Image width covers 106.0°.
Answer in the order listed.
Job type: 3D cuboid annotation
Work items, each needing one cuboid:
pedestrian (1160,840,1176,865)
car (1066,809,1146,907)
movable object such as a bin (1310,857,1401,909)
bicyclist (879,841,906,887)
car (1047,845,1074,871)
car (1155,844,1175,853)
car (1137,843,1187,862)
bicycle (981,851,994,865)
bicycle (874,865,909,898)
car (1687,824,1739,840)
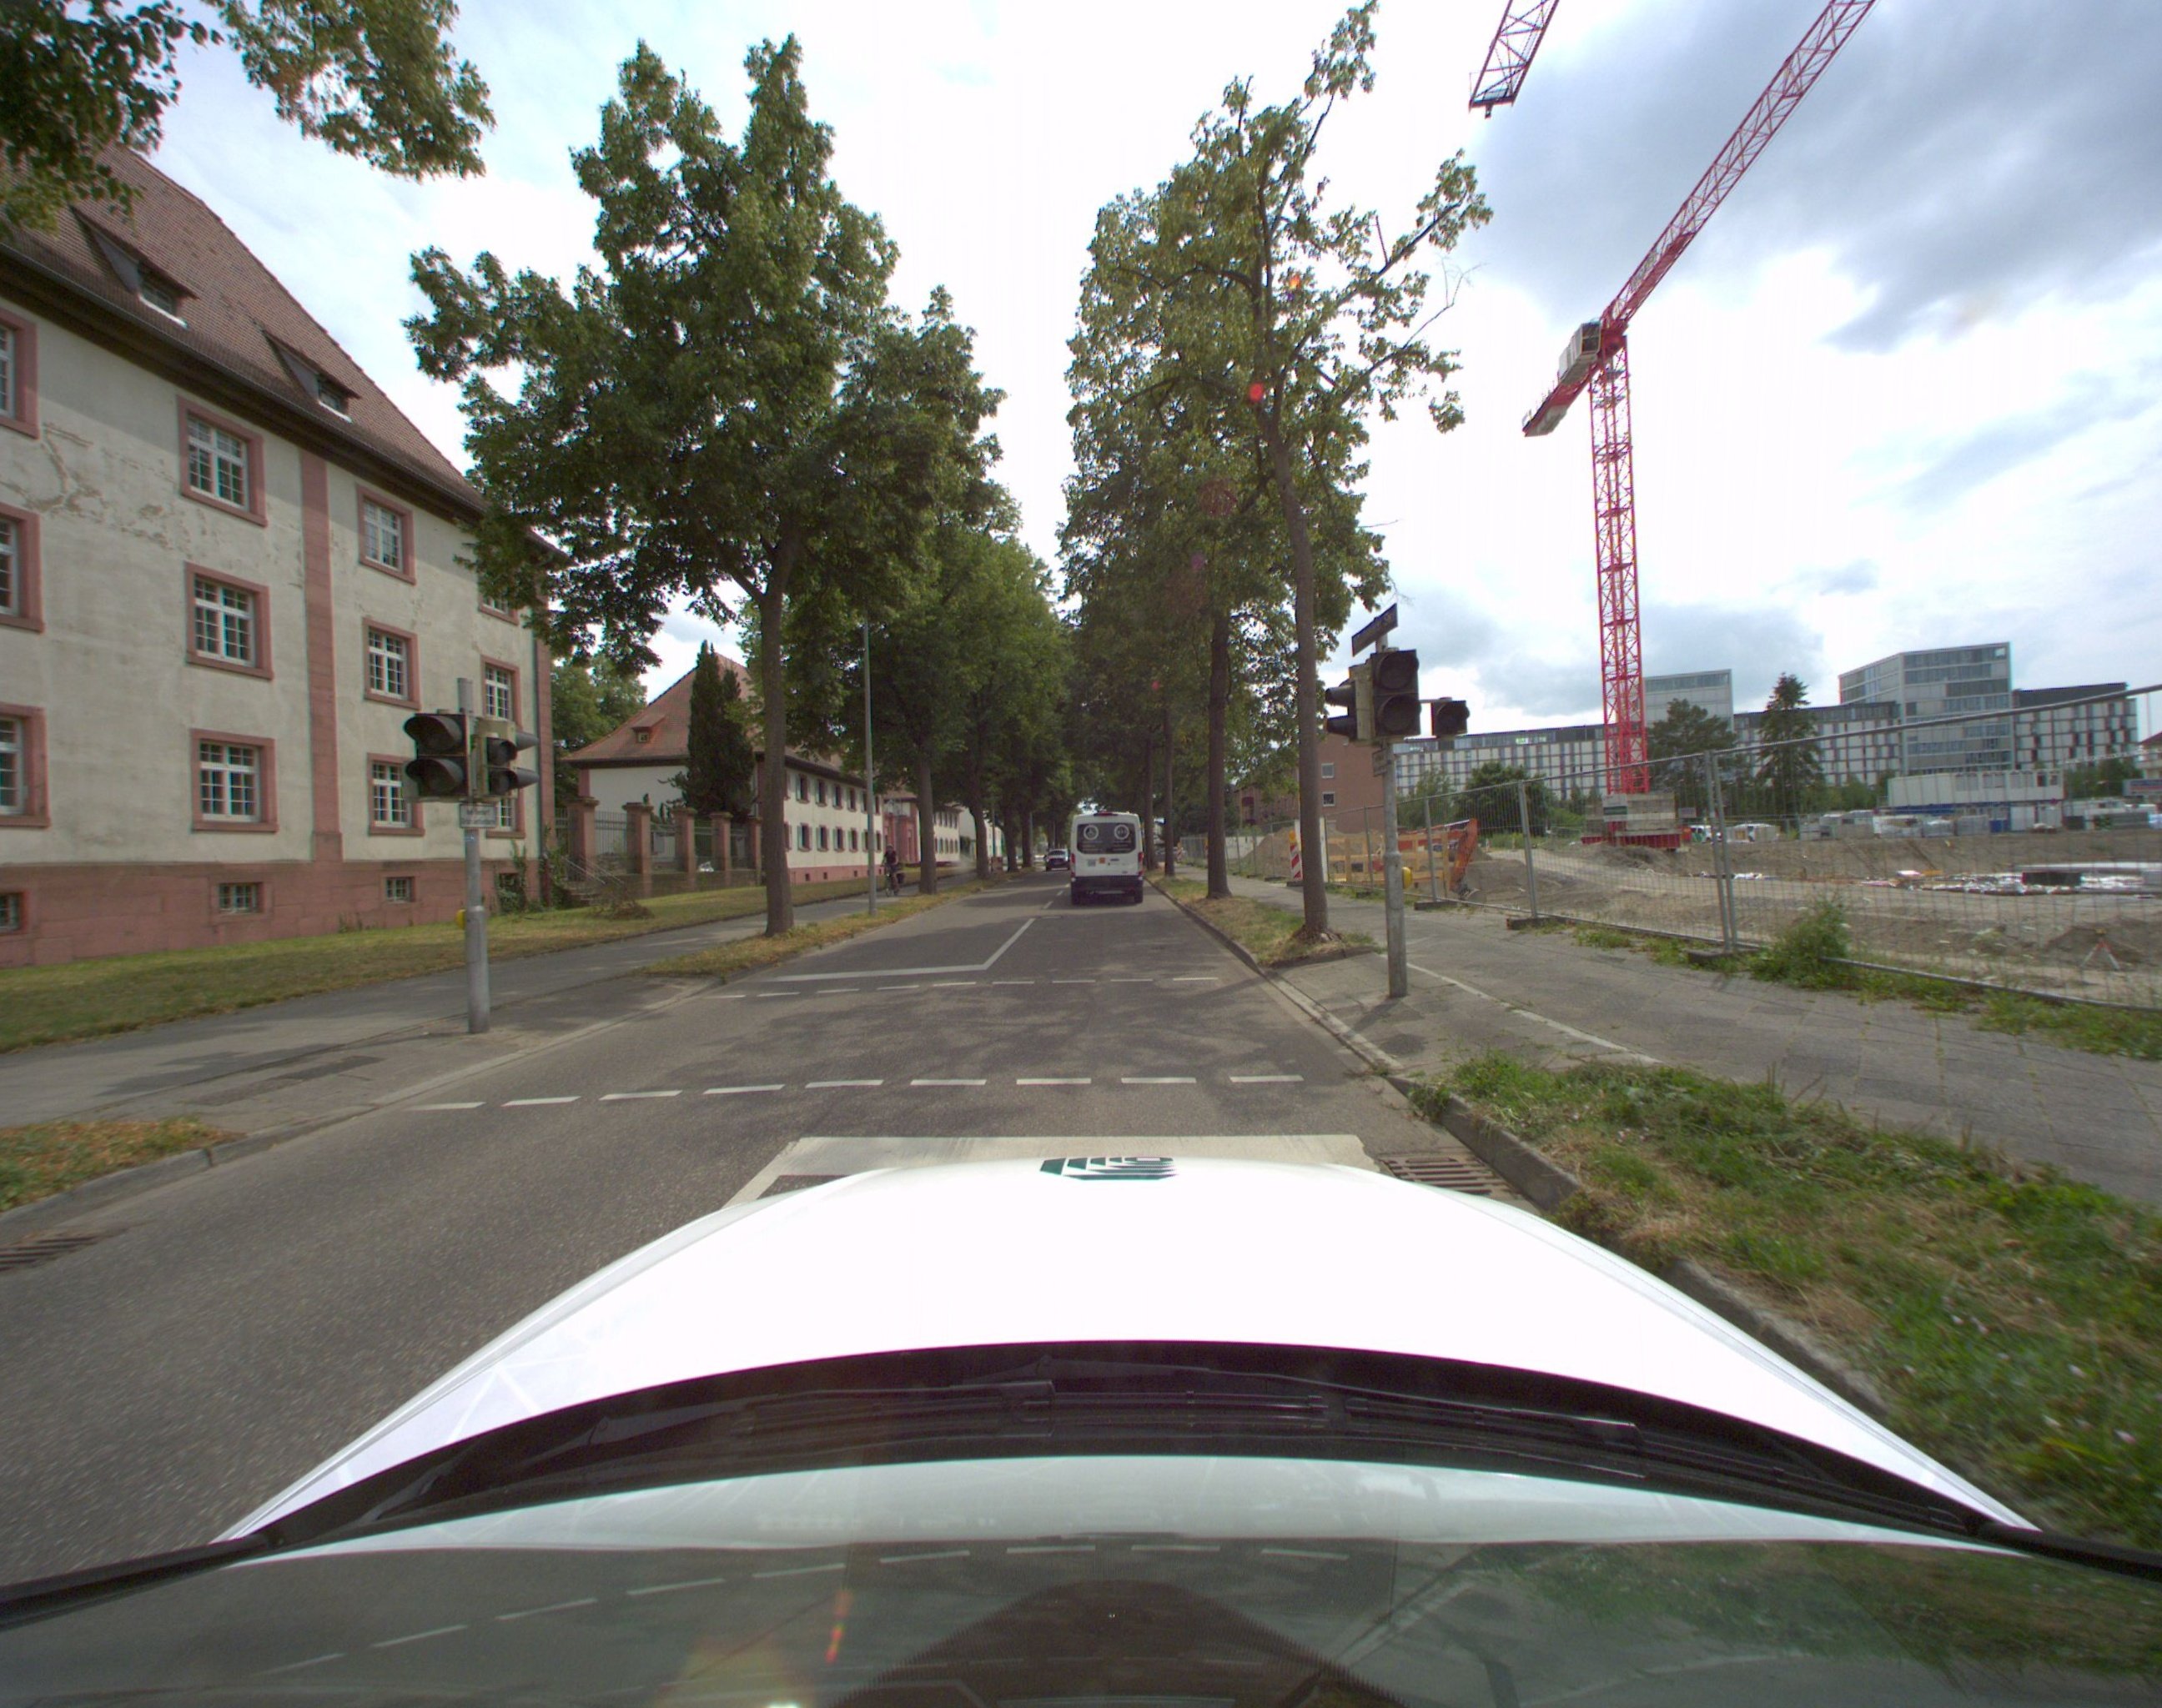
[{"bbox_3d":[6.623,-0.101,62.180,0.875,1.814,0.893,-4,0,20],"label":"pedestrian"},{"bbox_3d":[0.614,0.100,23.591,2.057,2.540,3.998,-1,0,-2],"label":"car"},{"bbox_3d":[15.739,1.633,47.030,4.647,2.589,3.146,-4,0,15],"label":"movable object such as a bin"},{"bbox_3d":[-6.884,0.348,29.798,0.720,1.656,0.958,2,0,1],"label":"bicyclist"},{"bbox_3d":[-1.489,0.278,59.582,1.767,1.659,4.255,-3,1,-1],"label":"car"},{"bbox_3d":[21.029,-1.388,203.715,4.355,1.816,2.026,-4,0,40],"label":"car"},{"bbox_3d":[7.312,-0.144,73.778,4.353,1.442,2.012,-3,-2,3],"label":"car"},{"bbox_3d":[-7.635,0.312,66.516,0.720,1.095,2.226,2,0,1],"label":"bicycle"},{"bbox_3d":[-6.896,0.971,29.752,0.720,1.095,2.152,2,0,1],"label":"bicycle"},{"bbox_3d":[60.935,-2.147,78.609,1.713,1.416,4.206,-3,2,-2],"label":"car"}]
